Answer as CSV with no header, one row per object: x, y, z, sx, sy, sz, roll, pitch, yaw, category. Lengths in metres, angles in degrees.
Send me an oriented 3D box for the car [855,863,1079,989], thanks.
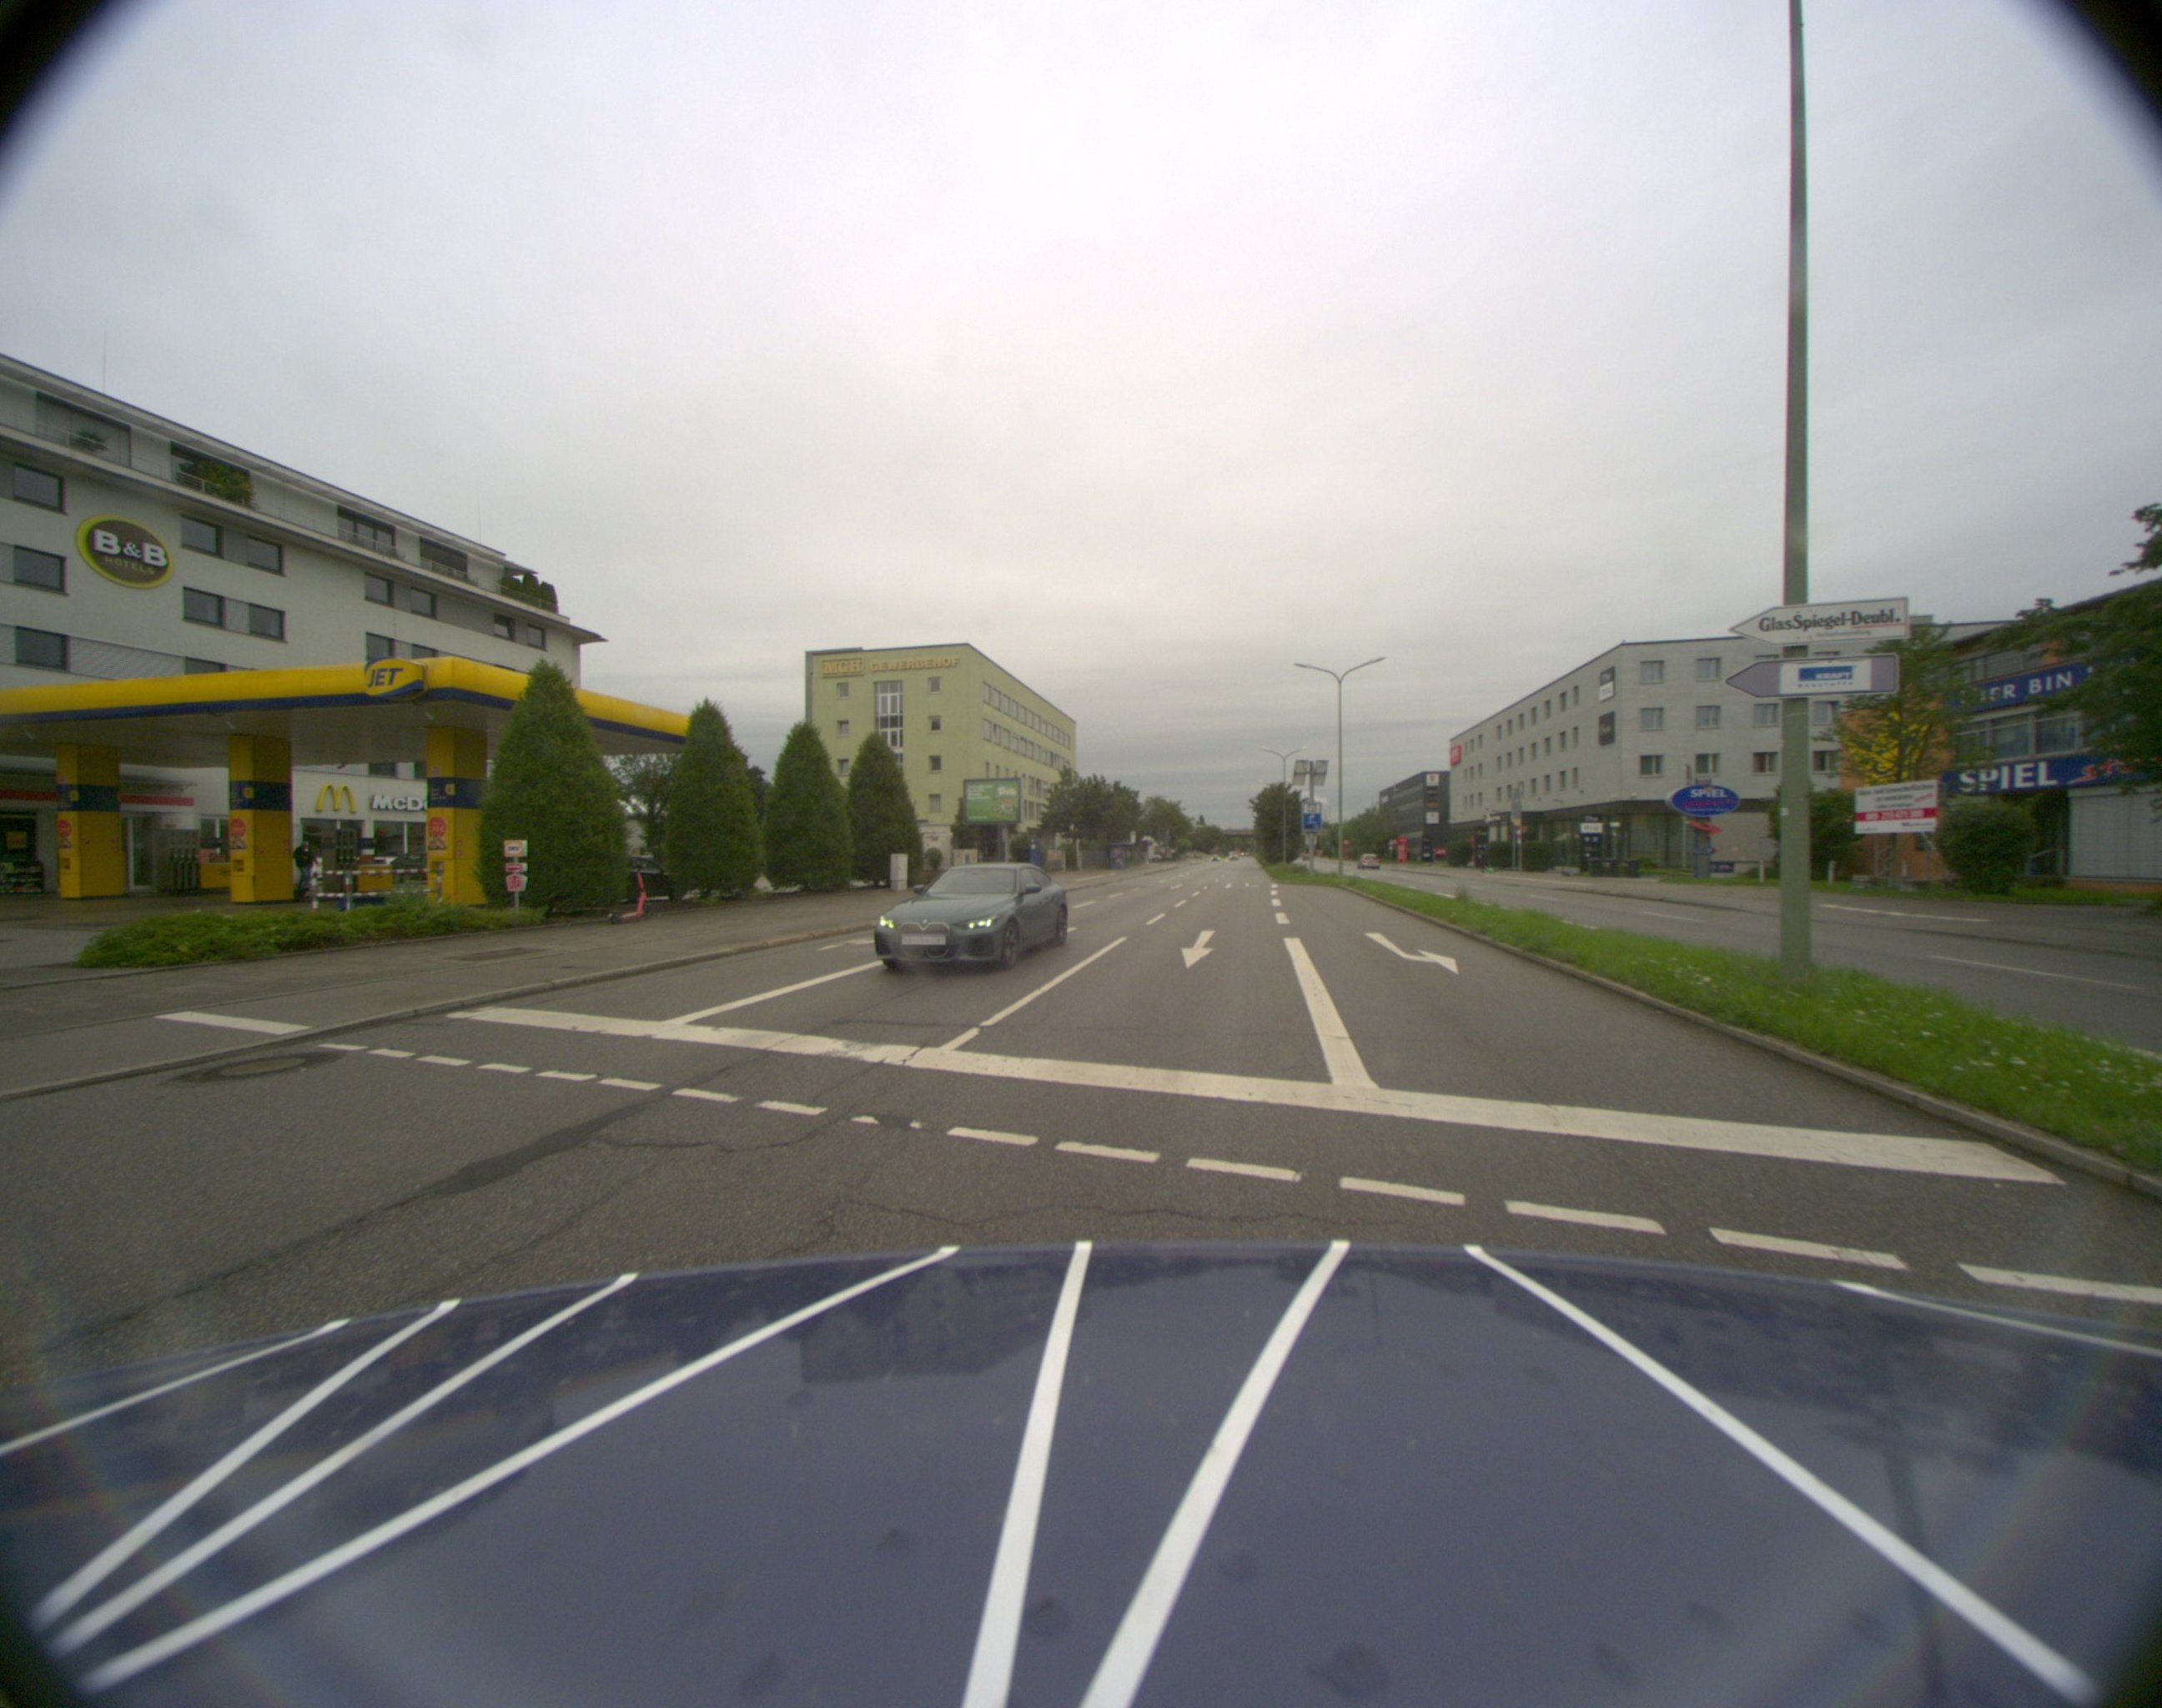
-1.496,0.951,11.907,1.914,1.498,4.443,-1,0,13,car

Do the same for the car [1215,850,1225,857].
31.337,-0.159,170.971,1.997,1.393,4.658,-1,0,12,car

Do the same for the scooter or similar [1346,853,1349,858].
52.619,0.212,150.215,0.304,0.998,1.221,-1,0,10,scooter or similar

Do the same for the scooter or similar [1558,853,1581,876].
28.589,0.587,44.496,0.586,1.270,1.405,-5,0,13,scooter or similar

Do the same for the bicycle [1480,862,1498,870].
29.674,0.880,55.273,0.721,0.545,1.734,-4,0,12,bicycle

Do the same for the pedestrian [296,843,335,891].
-27.760,0.466,27.550,0.708,1.718,0.644,-1,1,9,pedestrian

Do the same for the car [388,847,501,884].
-28.346,0.495,33.865,3.993,1.578,1.708,0,1,11,car

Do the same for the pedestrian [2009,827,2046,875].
34.161,-0.108,27.429,0.658,1.702,0.664,-1,1,31,pedestrian

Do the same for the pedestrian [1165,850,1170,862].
13.276,0.267,116.313,0.682,1.811,0.689,-1,1,12,pedestrian

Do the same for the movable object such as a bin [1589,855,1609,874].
28.750,0.584,42.158,0.738,1.072,0.656,-1,1,13,movable object such as a bin

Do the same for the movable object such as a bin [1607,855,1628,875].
29.179,0.612,41.350,0.738,1.072,0.656,-1,1,13,movable object such as a bin

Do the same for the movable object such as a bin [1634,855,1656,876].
30.575,0.625,41.171,0.738,1.072,0.656,-1,1,13,movable object such as a bin

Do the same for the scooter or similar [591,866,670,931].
-9.359,0.898,15.841,0.356,1.236,1.547,3,2,17,scooter or similar

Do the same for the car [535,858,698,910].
-13.463,0.819,22.317,1.797,1.324,4.003,-1,0,11,car

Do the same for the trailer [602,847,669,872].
-30.780,0.362,52.558,3.803,1.640,1.636,-1,1,11,trailer

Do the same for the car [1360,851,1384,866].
30.569,0.440,79.835,1.817,1.549,4.030,1,1,14,car

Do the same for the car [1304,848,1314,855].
50.429,-0.611,168.234,1.738,1.539,4.308,1,1,12,car
